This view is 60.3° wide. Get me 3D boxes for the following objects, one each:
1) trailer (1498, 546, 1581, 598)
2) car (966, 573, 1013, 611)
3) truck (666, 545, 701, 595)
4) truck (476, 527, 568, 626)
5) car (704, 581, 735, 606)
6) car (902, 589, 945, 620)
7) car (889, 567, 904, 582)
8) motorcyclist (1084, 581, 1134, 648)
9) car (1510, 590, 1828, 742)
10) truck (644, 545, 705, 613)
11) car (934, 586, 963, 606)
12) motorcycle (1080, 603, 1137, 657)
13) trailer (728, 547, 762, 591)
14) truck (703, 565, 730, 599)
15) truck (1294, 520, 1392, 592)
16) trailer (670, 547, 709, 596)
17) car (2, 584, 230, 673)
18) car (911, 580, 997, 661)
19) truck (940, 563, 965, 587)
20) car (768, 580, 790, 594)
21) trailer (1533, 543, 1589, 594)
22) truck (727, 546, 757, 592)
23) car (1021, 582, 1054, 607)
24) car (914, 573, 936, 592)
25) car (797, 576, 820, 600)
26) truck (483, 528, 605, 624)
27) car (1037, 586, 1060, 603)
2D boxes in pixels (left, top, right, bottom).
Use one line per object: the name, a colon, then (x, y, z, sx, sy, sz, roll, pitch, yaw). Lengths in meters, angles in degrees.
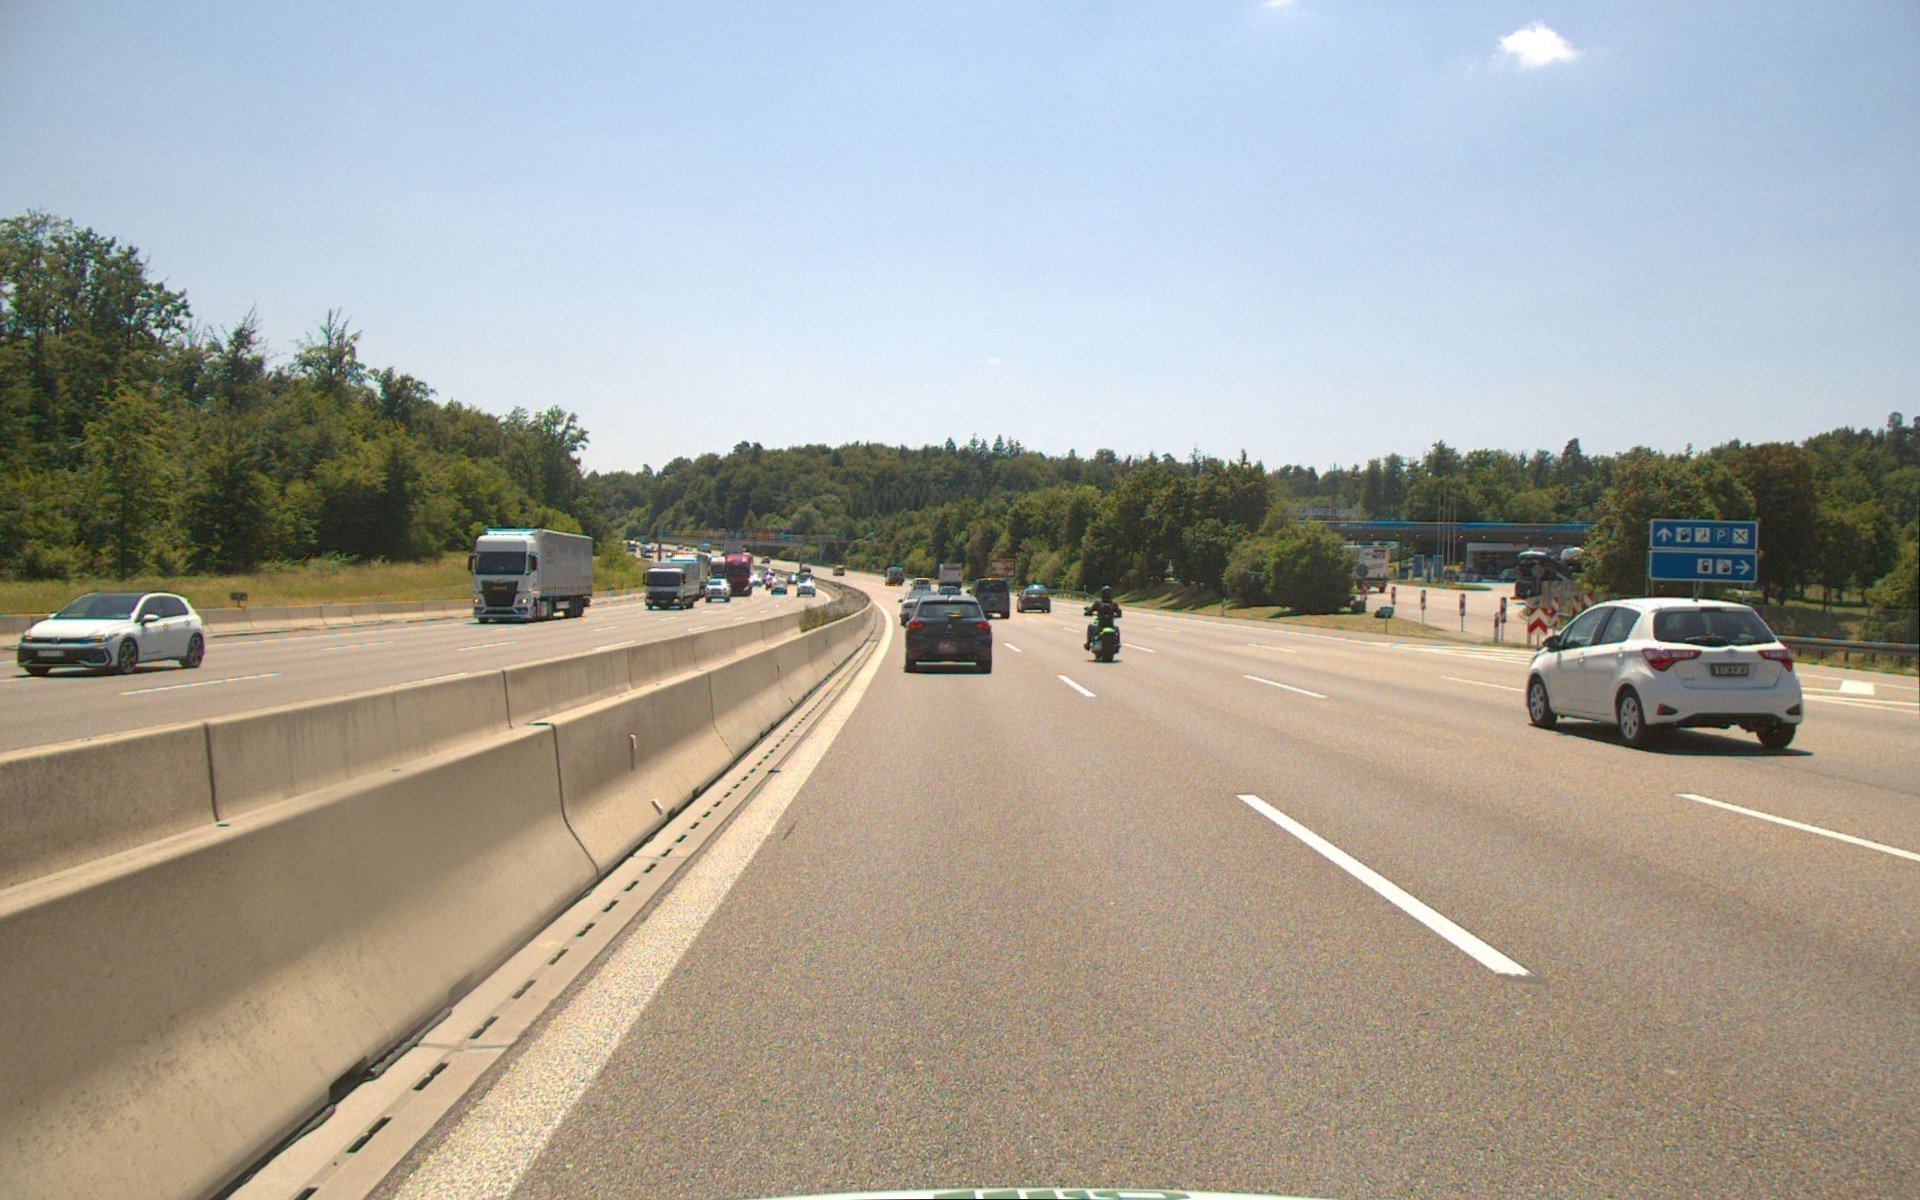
trailer: (44.427, -2.217, 126.460, 3.102, 3.700, 13.588, 0, 2, 32)
car: (1.471, -0.416, 84.321, 2.055, 1.884, 4.078, 0, 0, -4)
truck: (-24.999, -2.730, 149.959, 2.451, 4.427, 6.601, 0, 1, -4)
truck: (-19.561, -1.037, 74.195, 2.628, 4.250, 6.229, 0, 0, -1)
car: (-19.431, -0.569, 133.757, 1.953, 2.004, 5.735, 0, 1, -3)
car: (-1.572, 0.170, 70.067, 1.747, 1.287, 3.458, 0, 0, -3)
car: (-9.113, -3.631, 236.169, 1.954, 2.048, 4.672, 3, 1, -3)
motorcyclist: (3.312, 0.305, 36.892, 0.943, 1.463, 1.234, 0, 1, -3)
car: (7.568, 0.623, 18.146, 1.632, 1.458, 4.375, 0, 0, 0)
truck: (-18.541, -1.364, 107.820, 2.480, 4.250, 9.617, 0, 0, -1)
car: (-0.853, -0.327, 117.069, 1.805, 1.243, 4.222, 3, 1, -3)
motorcycle: (3.302, 0.654, 36.970, 0.958, 1.149, 2.269, 0, 0, -3)
trailer: (-22.115, -3.220, 170.675, 2.451, 4.427, 14.293, 0, 1, -4)
truck: (-33.591, -2.477, 228.710, 2.843, 4.427, 16.536, 0, 0, -6)
truck: (35.665, -3.915, 154.937, 5.396, 6.376, 15.428, 0, 0, -1)
trailer: (-25.498, -2.774, 156.209, 2.452, 4.427, 13.686, 0, 1, -4)
car: (-15.734, 0.494, 31.156, 1.834, 1.506, 4.812, 1, 0, -1)
car: (-0.076, 0.408, 32.718, 1.591, 1.513, 3.685, 0, -1, 1)
truck: (-0.912, -3.054, 201.931, 2.672, 2.834, 5.680, 3, 1, -3)
car: (-19.442, -1.412, 177.854, 1.953, 1.575, 4.879, 0, 1, -3)
trailer: (48.125, -2.544, 132.353, 3.024, 3.966, 5.949, 0, 2, 32)
truck: (-21.715, -3.098, 165.093, 2.451, 4.427, 6.602, 0, 1, -3)
car: (4.612, -0.334, 98.875, 1.641, 1.456, 3.684, 2, 0, -1)
car: (-3.469, -1.763, 164.452, 1.954, 1.713, 4.421, 3, 1, -3)
car: (-14.859, -1.200, 162.567, 1.953, 2.329, 5.762, 0, 1, -3)
truck: (-20.071, -1.111, 80.859, 2.702, 4.250, 14.504, 0, 0, -2)
car: (6.943, -0.423, 130.130, 1.576, 1.233, 3.459, 0, 0, -1)
